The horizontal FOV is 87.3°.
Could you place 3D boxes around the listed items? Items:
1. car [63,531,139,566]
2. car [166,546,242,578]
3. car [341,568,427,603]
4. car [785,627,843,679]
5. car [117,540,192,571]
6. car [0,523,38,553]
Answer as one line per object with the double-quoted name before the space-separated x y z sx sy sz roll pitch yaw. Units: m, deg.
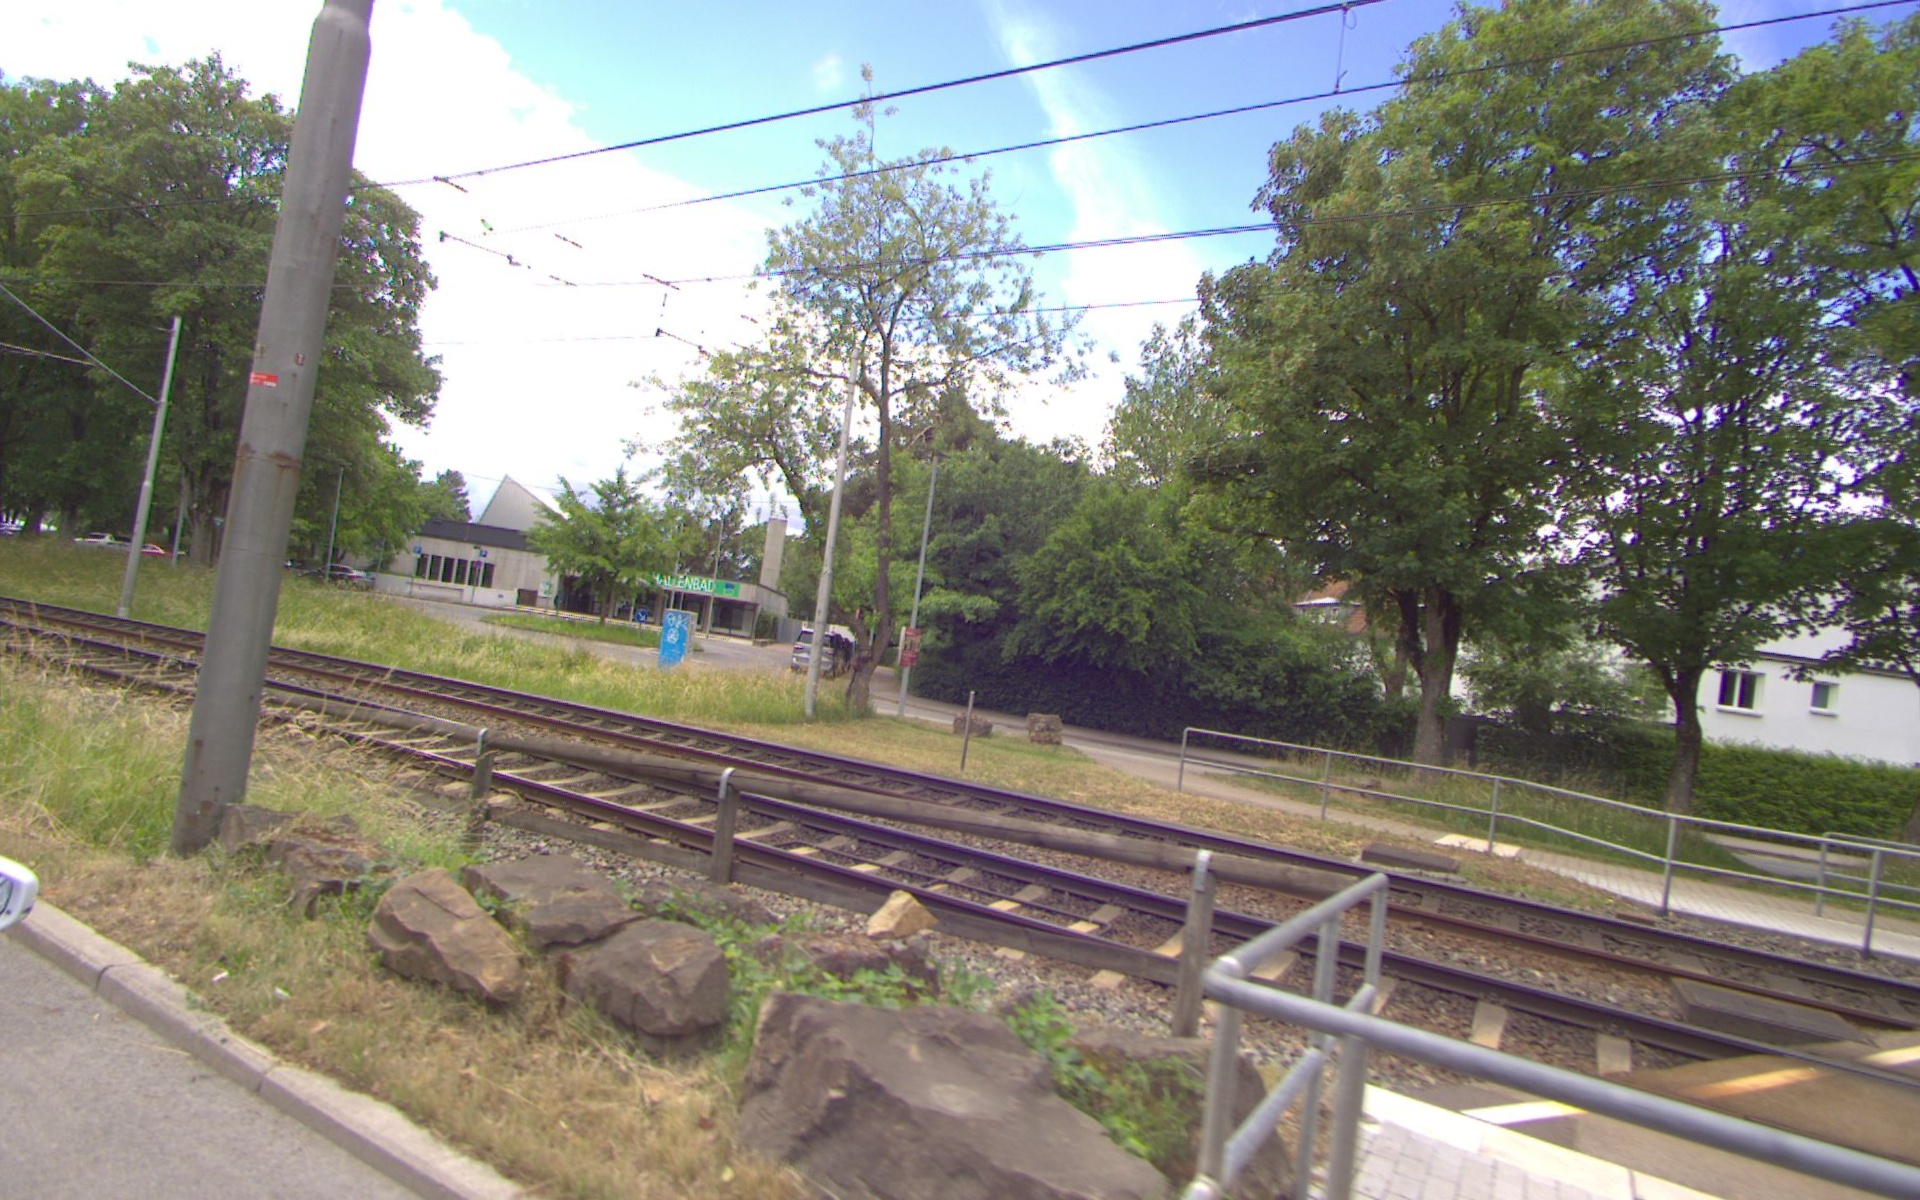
"car" -58.246 -3.488 68.207 4.150 1.718 2.003 6 -4 20
"car" -48.460 -2.430 64.503 3.926 1.459 2.002 6 -3 20
"car" -33.933 -0.877 59.318 4.265 1.459 2.002 6 -3 20
"car" -6.190 2.261 43.134 1.883 1.882 4.716 7 -3 -3
"car" -53.054 -2.935 66.256 3.926 1.459 2.002 6 -3 20
"car" -68.346 -4.540 71.901 3.927 1.718 2.003 6 -4 22
